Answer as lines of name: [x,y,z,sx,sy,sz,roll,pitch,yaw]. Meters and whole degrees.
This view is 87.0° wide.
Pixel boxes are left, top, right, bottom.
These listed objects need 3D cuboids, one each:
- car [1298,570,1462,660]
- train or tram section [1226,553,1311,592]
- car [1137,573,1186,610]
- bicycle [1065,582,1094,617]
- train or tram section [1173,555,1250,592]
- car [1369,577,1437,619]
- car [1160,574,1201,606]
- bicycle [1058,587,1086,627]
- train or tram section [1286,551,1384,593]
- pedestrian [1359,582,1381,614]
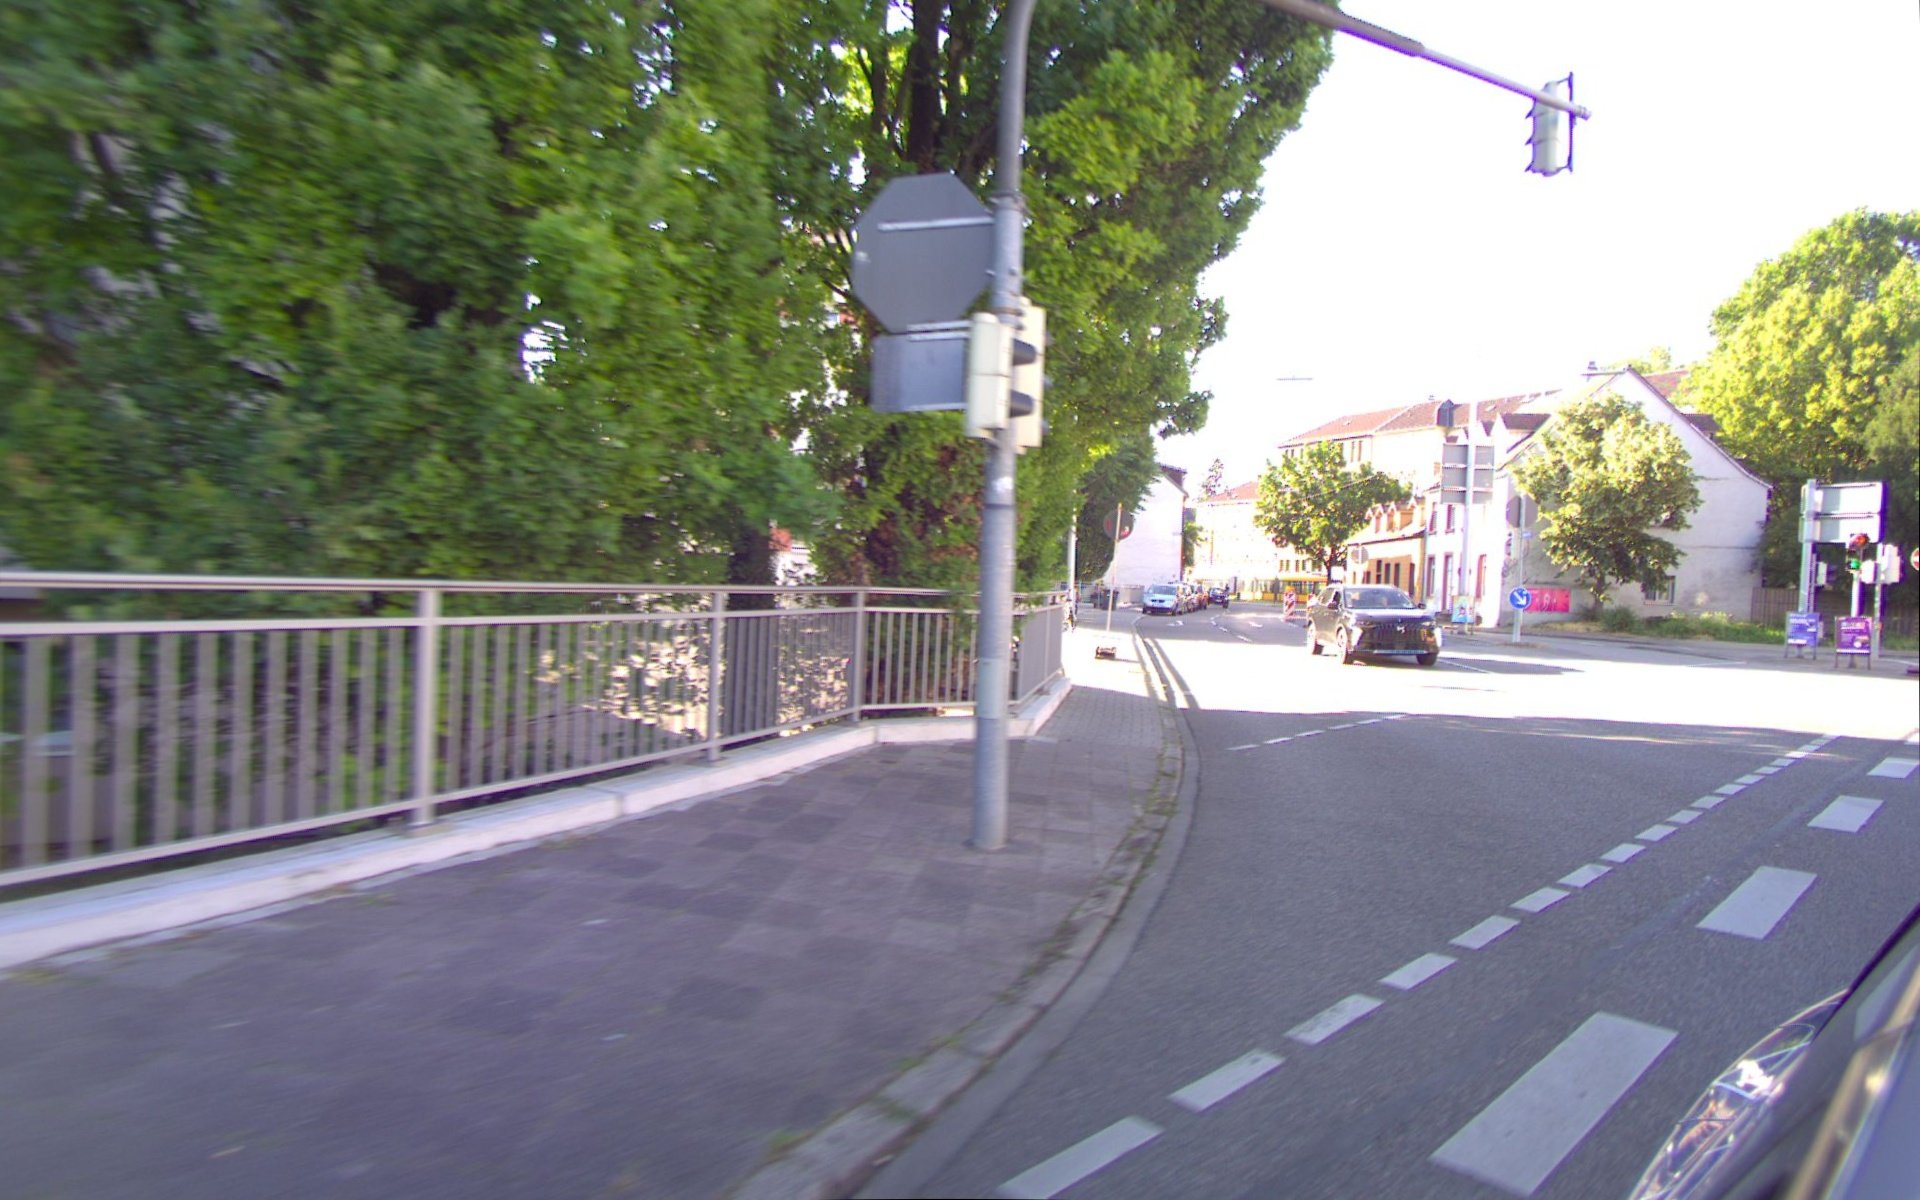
car: [8.846,0.245,21.764,1.965,1.691,4.657,-1,1,6]
train or tram section: [30.242,-2.664,99.677,2.739,3.564,9.288,1,0,-22]
car: [10.537,-0.441,52.639,1.974,1.803,4.203,2,0,18]
bicycle: [4.275,-0.043,36.242,0.698,1.193,2.335,1,0,-1]
train or tram section: [26.779,-2.818,108.493,2.788,3.646,9.887,1,0,-21]
car: [21.995,-0.134,50.415,1.969,1.838,4.239,5,1,10]
car: [13.340,-0.597,61.109,1.974,1.803,4.203,2,0,18]
bicycle: [3.149,0.178,28.515,0.604,1.082,1.923,1,0,1]
train or tram section: [33.626,-2.464,91.174,2.739,3.564,9.288,1,0,-21]
pedestrian: [24.228,-0.124,59.819,0.944,1.861,1.284,1,0,14]
